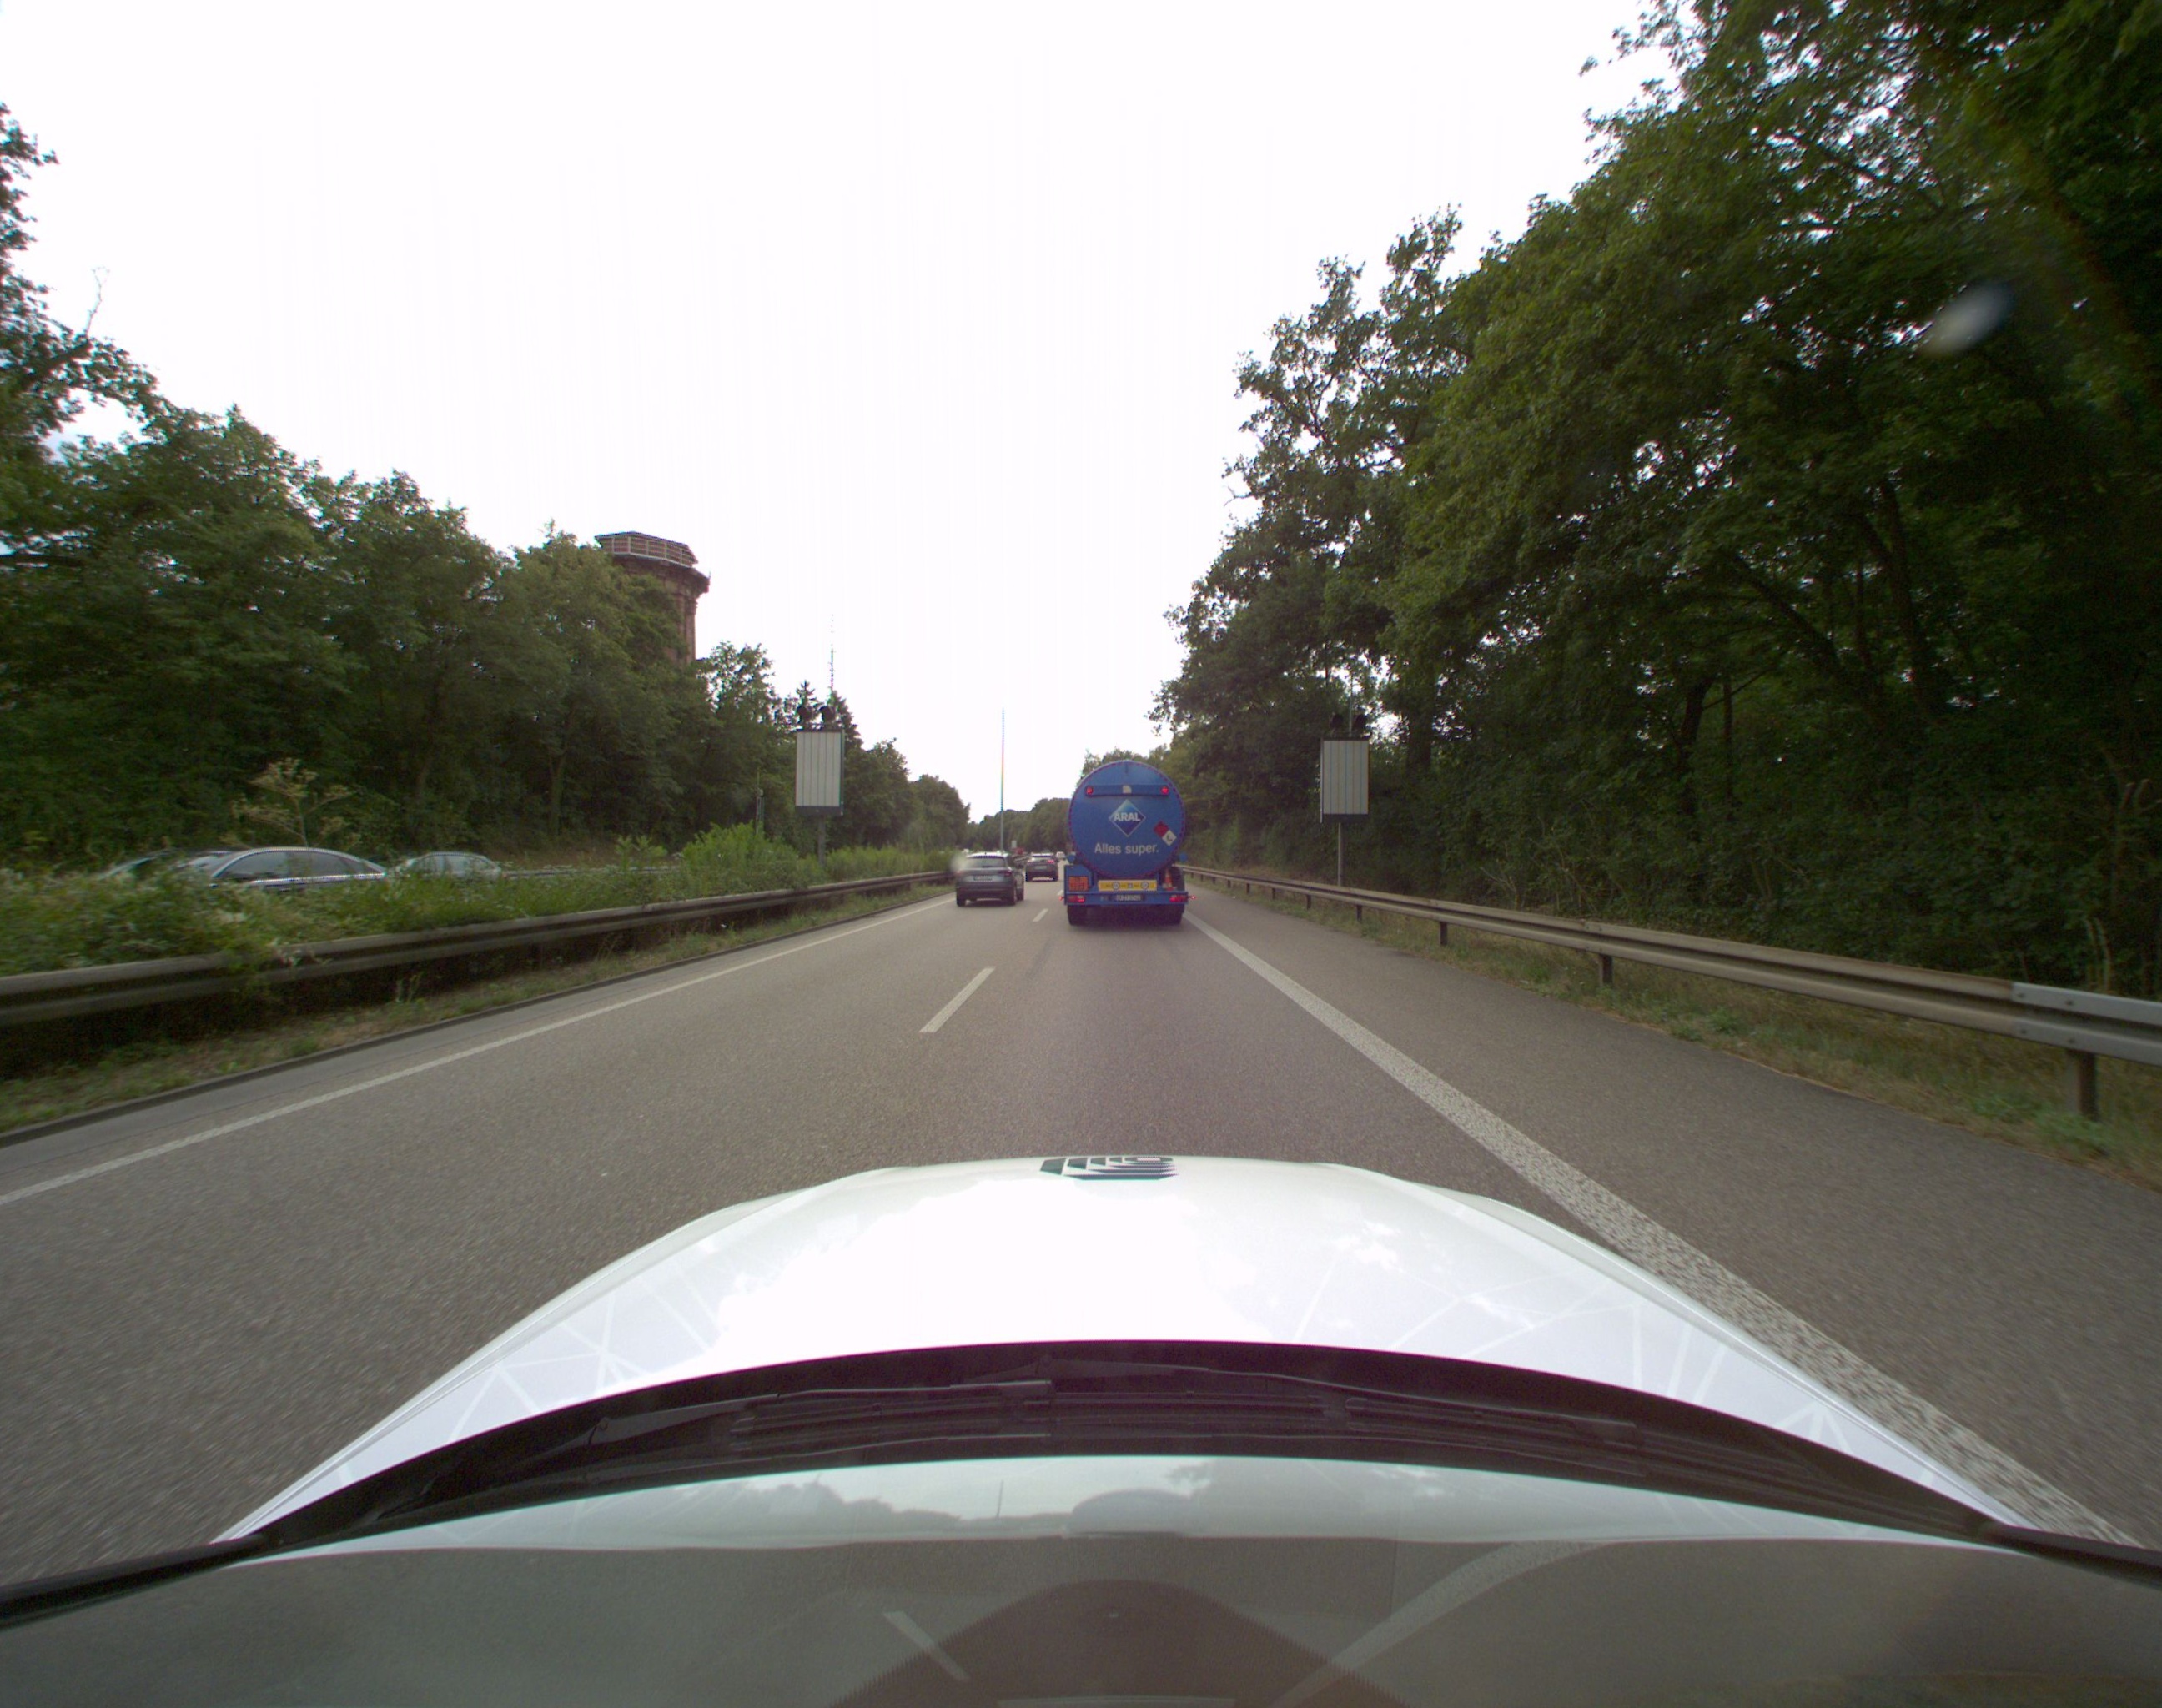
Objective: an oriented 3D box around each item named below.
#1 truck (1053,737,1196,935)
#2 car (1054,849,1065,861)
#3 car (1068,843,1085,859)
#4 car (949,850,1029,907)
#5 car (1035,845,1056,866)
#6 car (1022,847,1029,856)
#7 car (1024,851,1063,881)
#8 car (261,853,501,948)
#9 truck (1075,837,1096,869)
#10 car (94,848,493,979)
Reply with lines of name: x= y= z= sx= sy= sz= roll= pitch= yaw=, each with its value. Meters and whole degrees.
truck: x=1.030 y=-0.334 z=19.878 sx=2.744 sy=3.846 sz=7.693 roll=-1 pitch=0 yaw=3
car: x=-4.220 y=0.204 z=161.291 sx=1.985 sy=2.244 sz=4.003 roll=-1 pitch=0 yaw=3
car: x=-0.699 y=-0.361 z=117.888 sx=1.992 sy=2.244 sz=3.989 roll=-1 pitch=0 yaw=-8
car: x=-2.787 y=0.724 z=25.568 sx=1.819 sy=1.609 sz=4.170 roll=-1 pitch=0 yaw=3
car: x=-3.635 y=0.156 z=83.900 sx=1.988 sy=2.014 sz=3.998 roll=-1 pitch=0 yaw=-1
car: x=-15.317 y=-0.641 z=223.837 sx=1.990 sy=2.244 sz=3.994 roll=-1 pitch=0 yaw=-4
car: x=-2.083 y=0.656 z=46.372 sx=1.819 sy=1.609 sz=4.170 roll=-1 pitch=0 yaw=3
car: x=-15.089 y=0.925 z=17.867 sx=1.885 sy=1.825 sz=3.786 roll=-1 pitch=0 yaw=2
truck: x=0.508 y=-0.118 z=84.075 sx=1.987 sy=3.092 sz=7.815 roll=-1 pitch=0 yaw=1
car: x=-11.320 y=0.750 z=12.205 sx=1.986 sy=1.610 sz=4.002 roll=-1 pitch=0 yaw=2
